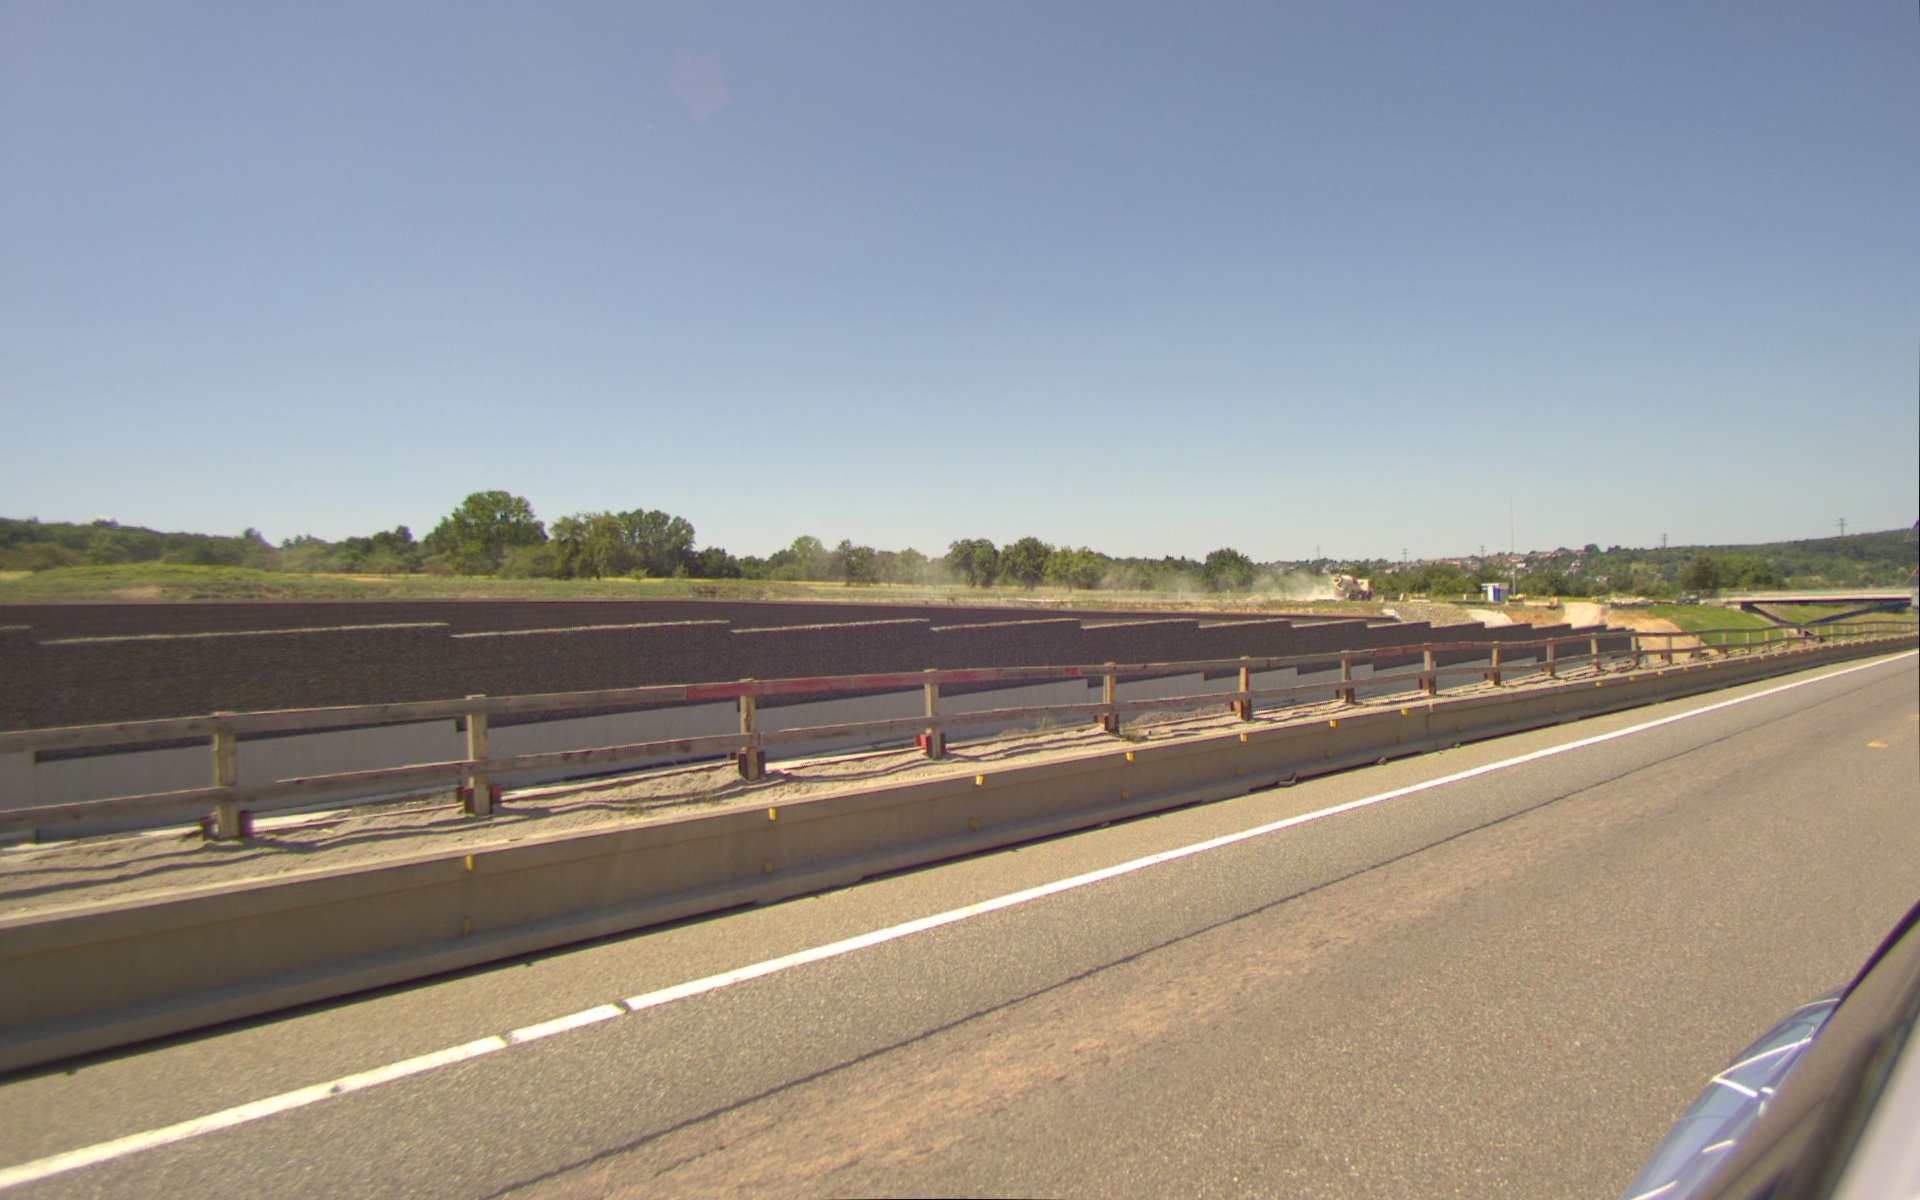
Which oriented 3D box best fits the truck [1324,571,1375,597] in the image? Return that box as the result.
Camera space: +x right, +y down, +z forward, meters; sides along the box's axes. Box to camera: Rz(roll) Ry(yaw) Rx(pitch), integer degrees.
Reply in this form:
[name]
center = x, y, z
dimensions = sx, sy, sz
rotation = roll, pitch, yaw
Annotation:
[truck]
center = 56.241, -2.299, 146.121
dimensions = 8.602, 3.510, 3.153
rotation = 0, -2, -41
